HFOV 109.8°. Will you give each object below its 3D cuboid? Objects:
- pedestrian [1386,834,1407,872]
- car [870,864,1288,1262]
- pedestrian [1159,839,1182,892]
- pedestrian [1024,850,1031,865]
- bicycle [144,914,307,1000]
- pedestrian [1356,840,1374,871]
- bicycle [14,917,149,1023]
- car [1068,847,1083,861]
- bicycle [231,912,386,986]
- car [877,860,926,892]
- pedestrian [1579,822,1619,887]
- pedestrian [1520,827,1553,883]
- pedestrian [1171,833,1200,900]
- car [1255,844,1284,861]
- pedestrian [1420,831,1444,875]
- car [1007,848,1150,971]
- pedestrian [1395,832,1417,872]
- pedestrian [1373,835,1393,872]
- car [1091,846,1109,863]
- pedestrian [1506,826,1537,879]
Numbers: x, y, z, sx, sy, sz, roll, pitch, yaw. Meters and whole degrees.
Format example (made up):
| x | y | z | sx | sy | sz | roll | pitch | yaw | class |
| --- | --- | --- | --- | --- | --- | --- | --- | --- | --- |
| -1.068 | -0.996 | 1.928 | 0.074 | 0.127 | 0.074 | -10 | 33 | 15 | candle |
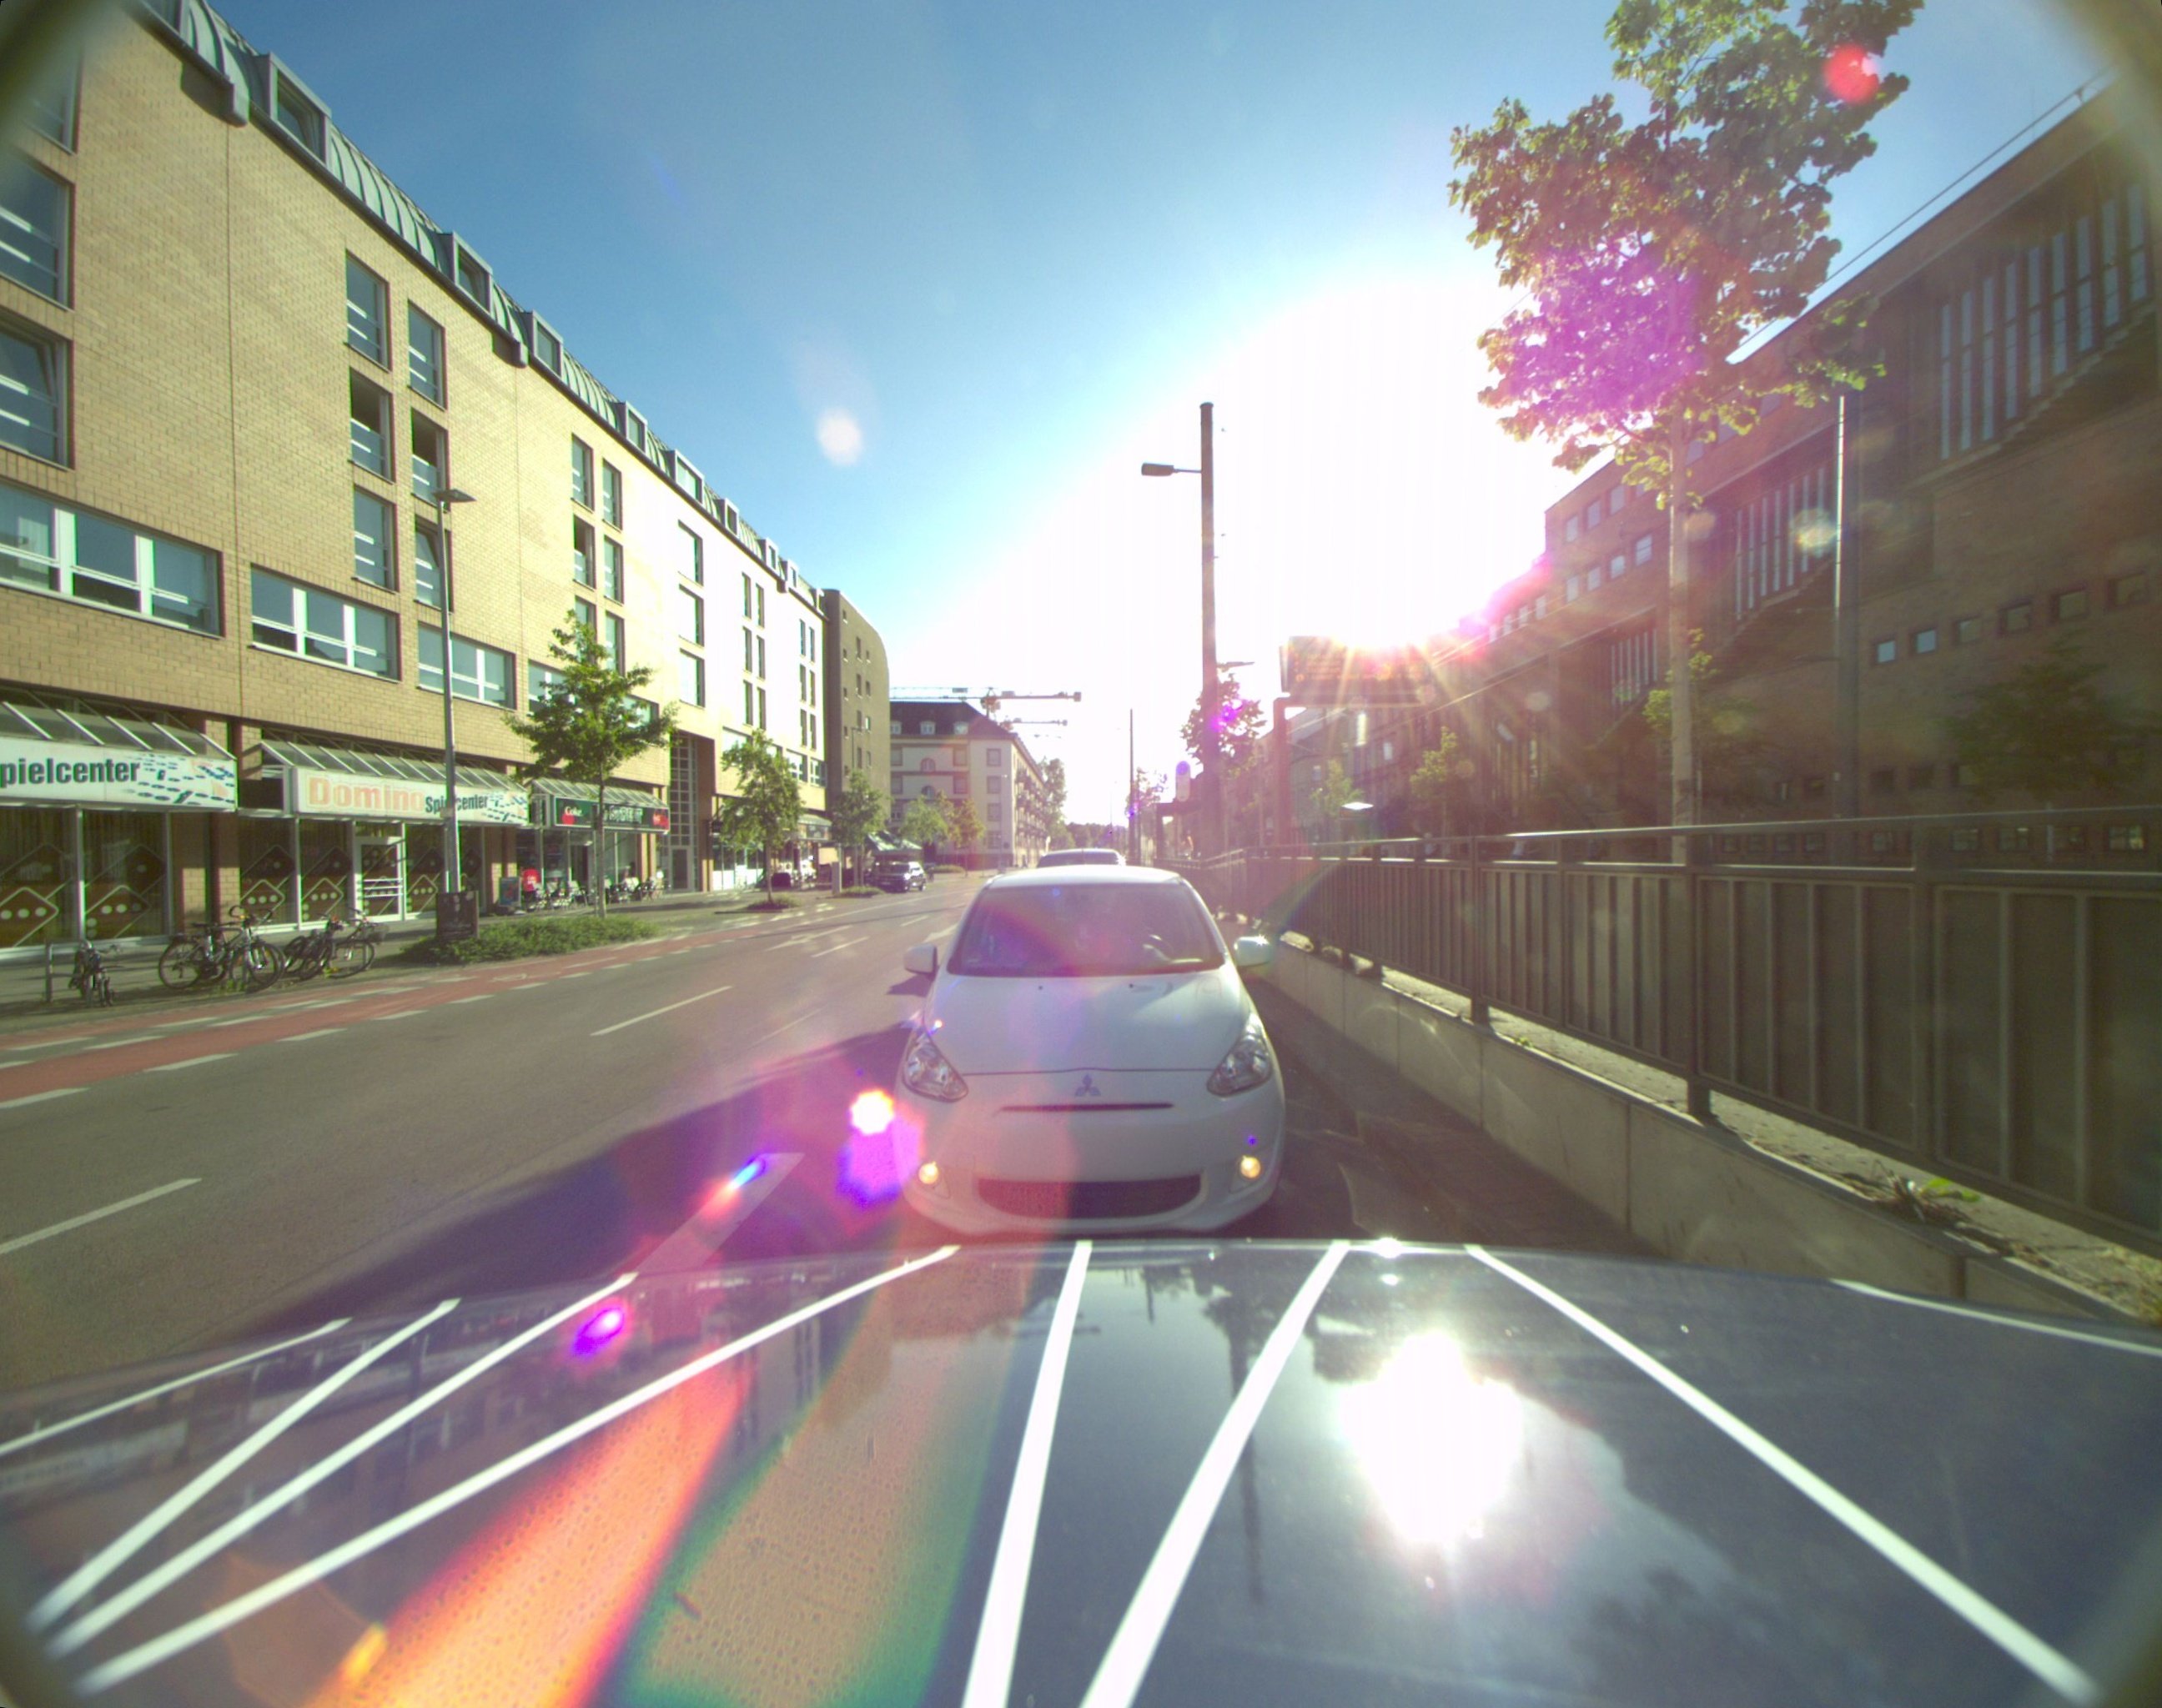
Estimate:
| x | y | z | sx | sy | sz | roll | pitch | yaw | class |
| --- | --- | --- | --- | --- | --- | --- | --- | --- | --- |
| 14.482 | -0.031 | 34.890 | 0.692 | 1.732 | 0.586 | -1 | 1 | -2 | pedestrian |
| 0.023 | 0.882 | 5.170 | 1.640 | 1.458 | 4.186 | -2 | 1 | 1 | car |
| 3.466 | 0.429 | 29.426 | 0.784 | 2.002 | 0.880 | -1 | 1 | 1 | pedestrian |
| -6.103 | 0.365 | 86.847 | 0.804 | 1.656 | 0.891 | -1 | 1 | -6 | pedestrian |
| -12.357 | 1.470 | 10.994 | 1.774 | 1.135 | 0.553 | 0 | 2 | 3 | bicycle |
| 14.457 | 0.086 | 38.682 | 0.692 | 1.566 | 0.586 | -1 | 1 | -2 | pedestrian |
| -12.820 | 1.450 | 9.742 | 1.771 | 1.142 | 0.554 | 1 | 2 | 21 | bicycle |
| -0.734 | 0.011 | 96.521 | 1.829 | 1.644 | 3.682 | -1 | 0 | -1 | car |
| -12.394 | 1.513 | 12.226 | 1.774 | 1.065 | 0.737 | 0 | 2 | 3 | bicycle |
| -9.790 | 1.182 | 41.619 | 1.655 | 1.521 | 3.693 | -2 | 1 | 1 | car |
| 14.121 | 0.008 | 20.723 | 0.692 | 1.732 | 0.586 | -1 | 1 | -2 | pedestrian |
| 14.541 | 0.029 | 24.254 | 0.692 | 1.732 | 0.586 | -1 | 1 | -2 | pedestrian |
| 3.224 | 0.380 | 23.347 | 0.783 | 2.002 | 0.881 | -1 | 1 | 14 | pedestrian |
| 17.198 | -0.159 | 69.389 | 1.702 | 1.477 | 3.704 | -1 | 0 | 1 | car |
| 14.224 | -0.045 | 30.801 | 0.692 | 1.732 | 0.586 | -1 | 1 | -2 | pedestrian |
| -0.004 | 0.766 | 12.912 | 1.955 | 1.652 | 4.355 | -2 | 1 | 1 | car |
| 14.331 | -0.079 | 33.483 | 0.692 | 1.732 | 0.586 | -1 | 1 | -2 | pedestrian |
| 14.338 | -0.011 | 36.131 | 0.692 | 1.732 | 0.586 | -1 | 1 | -2 | pedestrian |
| 2.190 | 0.044 | 86.925 | 1.998 | 1.958 | 4.000 | -1 | 0 | 1 | car |
| 14.633 | -0.063 | 25.254 | 0.692 | 1.732 | 0.586 | -1 | 1 | -2 | pedestrian |
